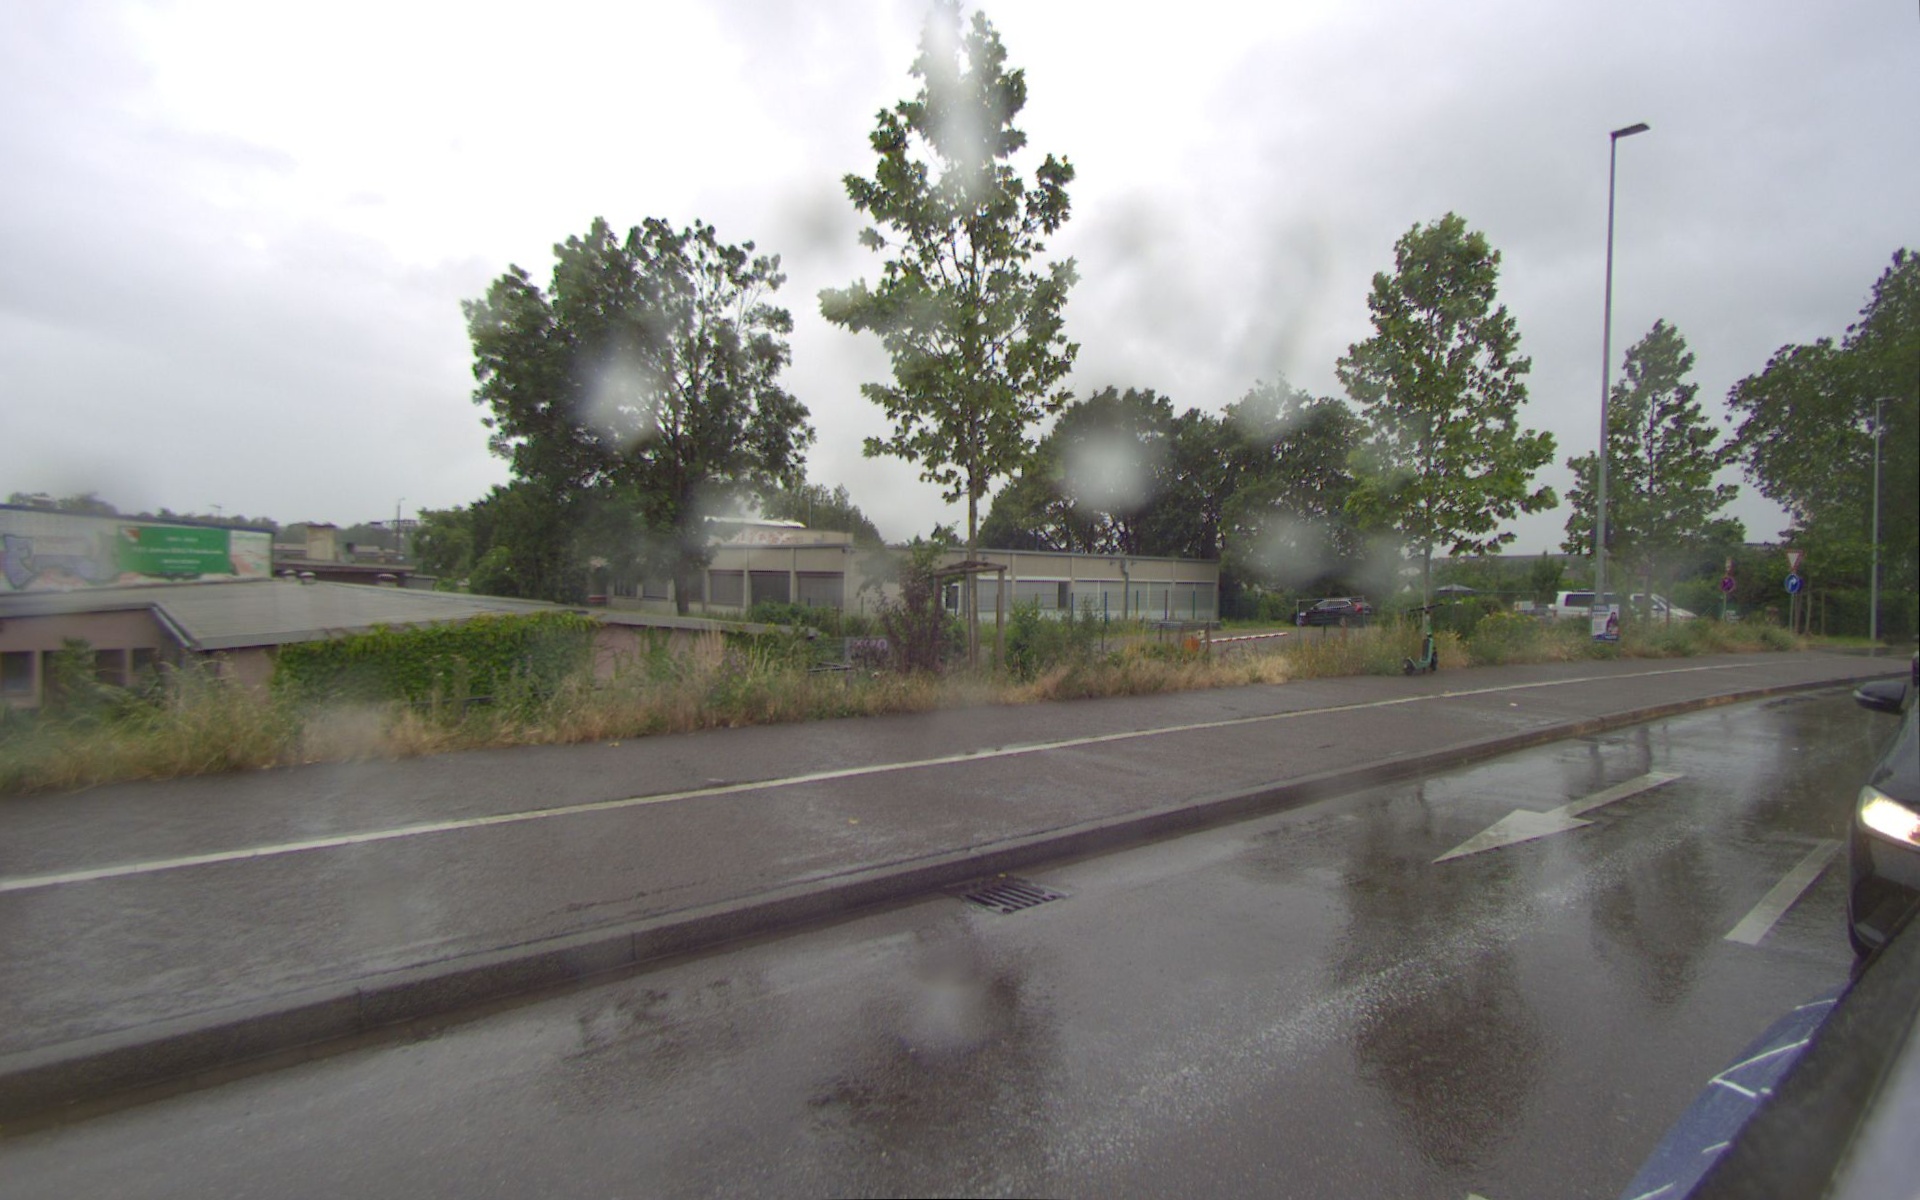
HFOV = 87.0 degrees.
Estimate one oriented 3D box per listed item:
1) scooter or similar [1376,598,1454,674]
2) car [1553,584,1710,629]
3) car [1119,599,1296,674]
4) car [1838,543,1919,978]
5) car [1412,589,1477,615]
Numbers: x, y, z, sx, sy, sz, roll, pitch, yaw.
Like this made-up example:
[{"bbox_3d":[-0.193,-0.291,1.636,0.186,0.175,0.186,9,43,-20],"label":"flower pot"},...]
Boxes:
[{"bbox_3d":[7.671,0.585,17.015,1.877,1.214,0.367,0,0,-38],"label":"scooter or similar"},{"bbox_3d":[28.091,0.254,42.483,1.972,1.747,5.168,0,0,-42],"label":"car"},{"bbox_3d":[4.690,0.643,19.498,1.319,1.304,3.246,0,0,-35],"label":"car"},{"bbox_3d":[5.558,0.617,4.417,4.090,1.601,1.759,1,0,-36],"label":"car"},{"bbox_3d":[30.934,0.098,64.692,1.319,1.604,3.555,0,0,-35],"label":"car"}]
